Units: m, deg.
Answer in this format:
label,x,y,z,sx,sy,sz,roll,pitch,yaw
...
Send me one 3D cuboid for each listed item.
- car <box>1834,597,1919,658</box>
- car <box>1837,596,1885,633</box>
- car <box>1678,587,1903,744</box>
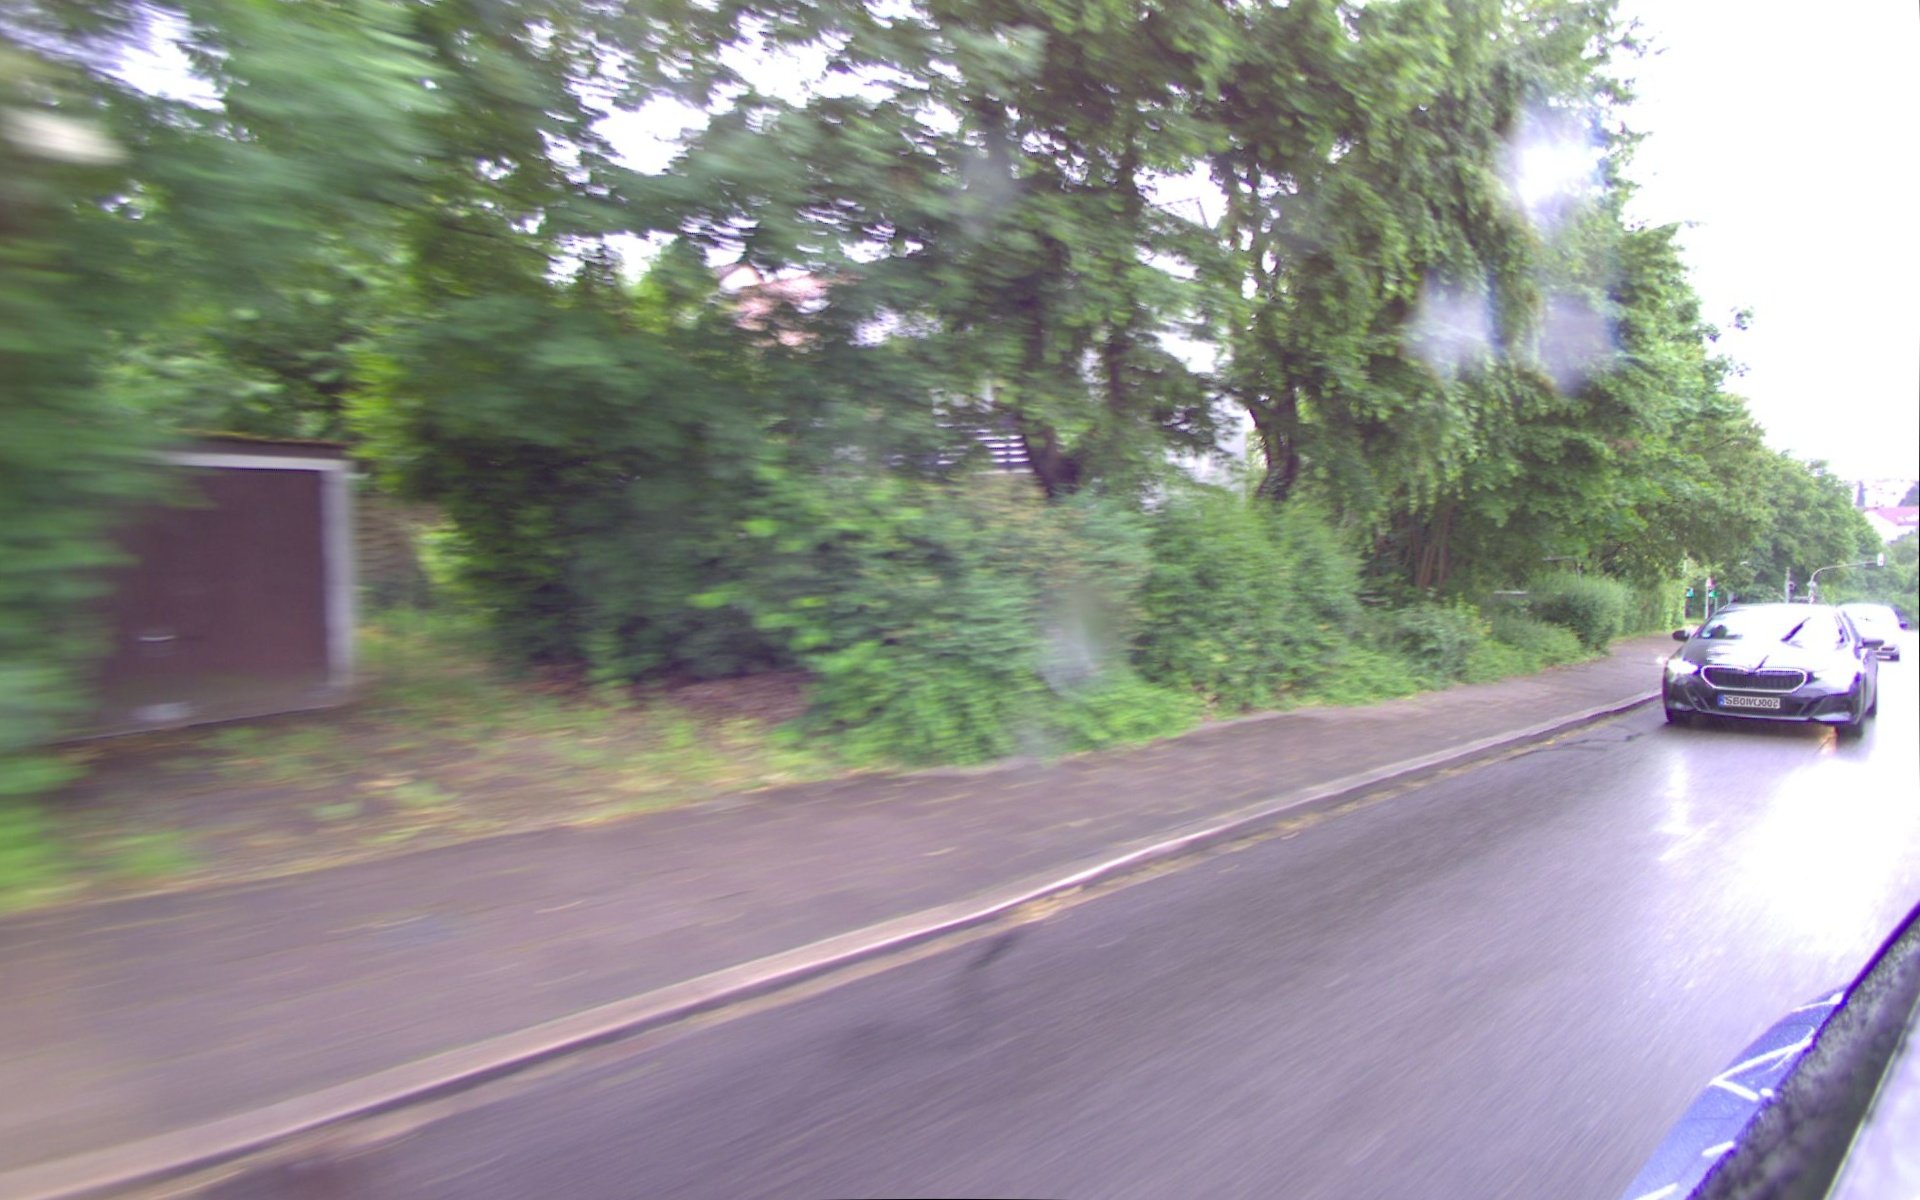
label,x,y,z,sx,sy,sz,roll,pitch,yaw
car,26.789,0.767,29.436,1.810,1.575,4.054,4,2,43
car,49.679,0.795,55.755,1.810,1.830,4.055,4,2,43
car,10.582,0.688,12.783,1.863,1.575,4.054,4,2,43
